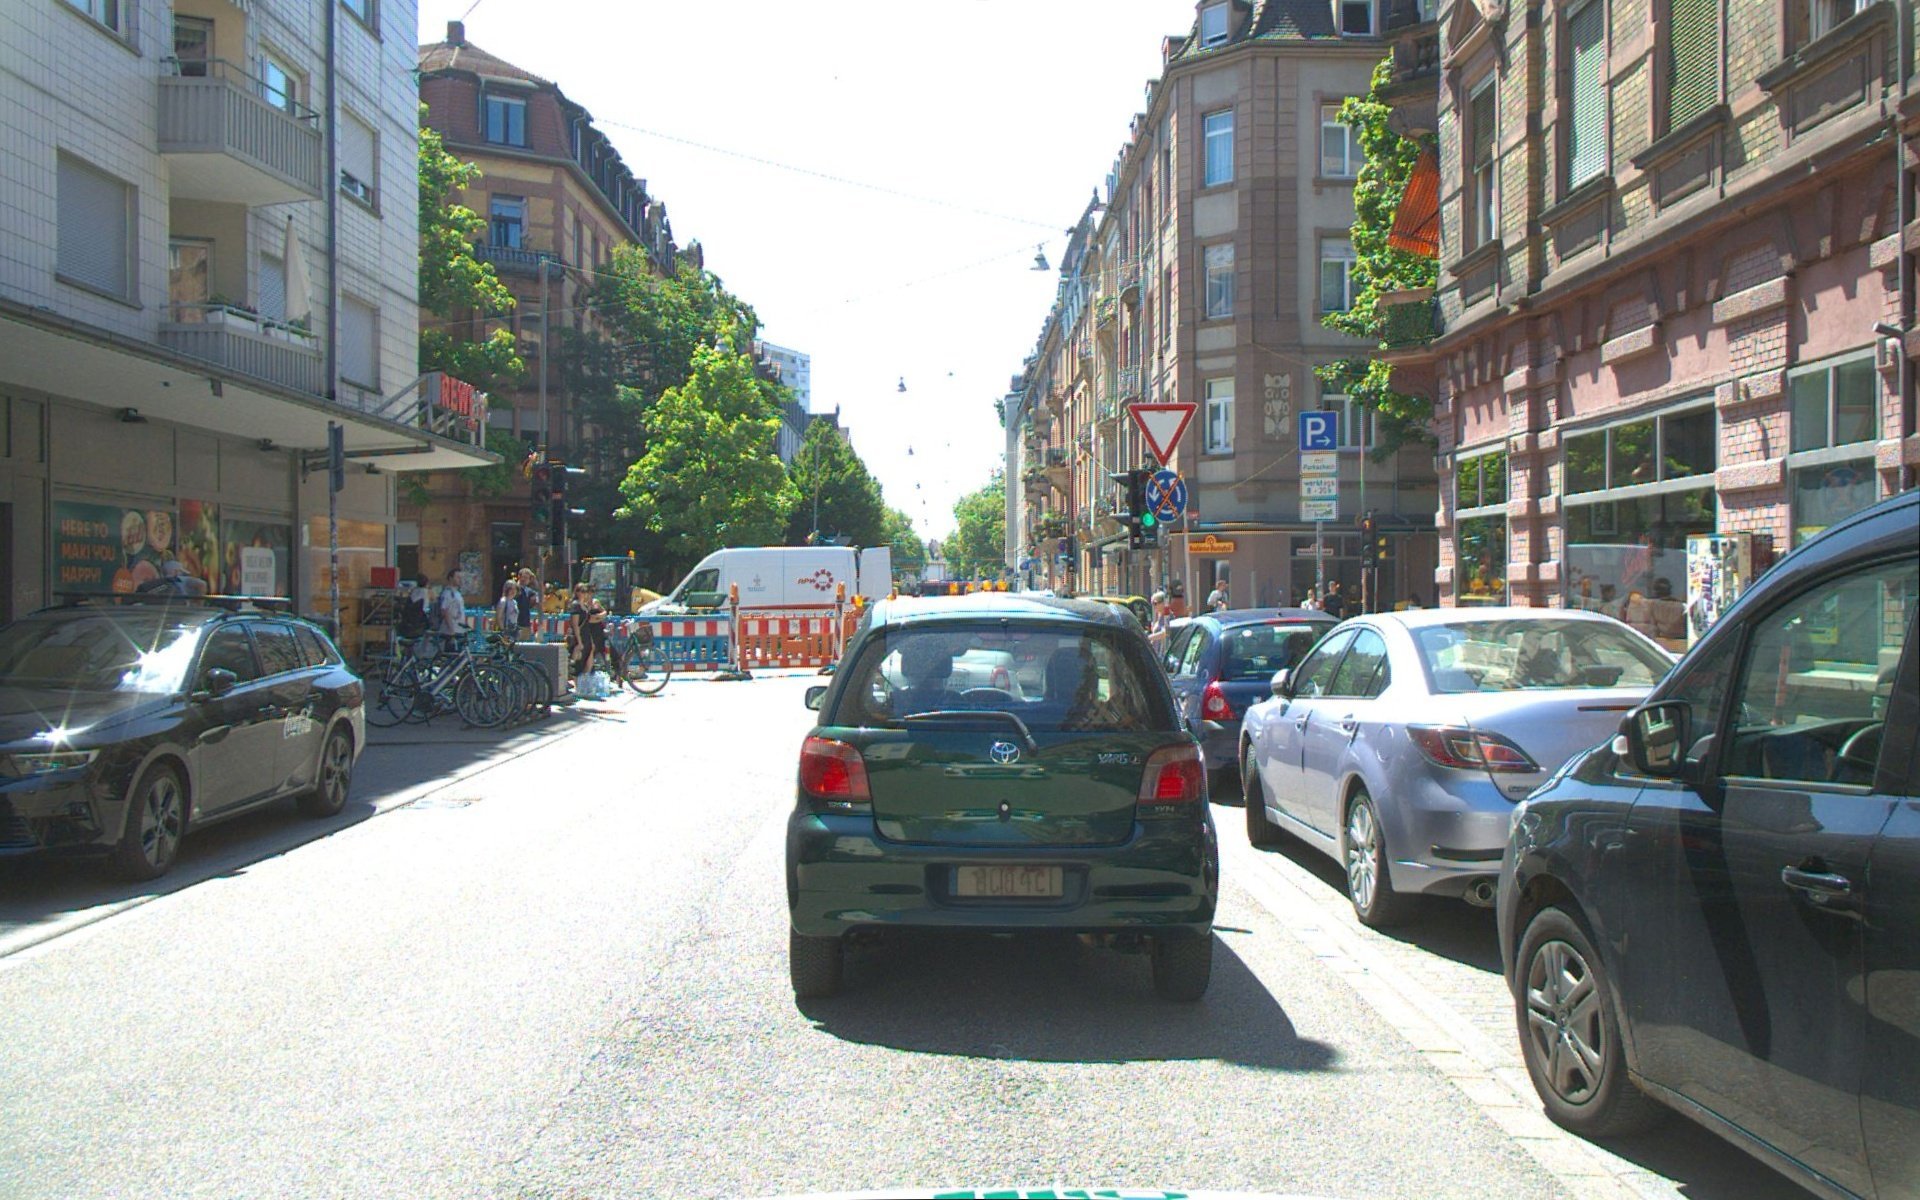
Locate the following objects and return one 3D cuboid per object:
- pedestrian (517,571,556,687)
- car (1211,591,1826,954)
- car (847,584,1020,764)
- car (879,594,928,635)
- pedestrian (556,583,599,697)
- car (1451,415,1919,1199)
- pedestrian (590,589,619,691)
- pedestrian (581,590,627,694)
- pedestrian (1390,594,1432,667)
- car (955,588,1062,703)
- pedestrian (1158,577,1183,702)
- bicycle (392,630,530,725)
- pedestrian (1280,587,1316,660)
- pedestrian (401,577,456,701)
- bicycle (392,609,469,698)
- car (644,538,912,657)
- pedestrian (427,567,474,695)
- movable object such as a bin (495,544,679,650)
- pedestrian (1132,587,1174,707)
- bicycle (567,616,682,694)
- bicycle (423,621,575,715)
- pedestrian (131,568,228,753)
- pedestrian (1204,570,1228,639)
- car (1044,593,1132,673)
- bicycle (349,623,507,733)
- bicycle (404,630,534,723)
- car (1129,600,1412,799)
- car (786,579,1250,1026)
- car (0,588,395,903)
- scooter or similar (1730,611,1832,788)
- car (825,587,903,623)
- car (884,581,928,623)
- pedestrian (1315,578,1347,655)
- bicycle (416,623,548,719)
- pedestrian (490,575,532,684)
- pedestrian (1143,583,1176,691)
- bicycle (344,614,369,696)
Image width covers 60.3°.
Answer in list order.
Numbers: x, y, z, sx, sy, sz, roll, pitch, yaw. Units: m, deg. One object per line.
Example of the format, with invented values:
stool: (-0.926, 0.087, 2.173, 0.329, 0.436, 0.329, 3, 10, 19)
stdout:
pedestrian: (-6.827, 0.462, 26.667, 0.499, 1.852, 0.599, 0, 0, -3)
car: (2.672, 0.712, 9.124, 1.691, 1.457, 4.483, -1, 0, -3)
car: (-0.263, 0.628, 15.977, 1.491, 1.547, 3.263, 0, 0, -1)
car: (-2.106, 0.534, 62.479, 1.719, 1.469, 3.999, -1, 0, -1)
pedestrian: (-5.663, 0.588, 24.501, 0.530, 1.661, 0.511, 0, 0, -3)
car: (2.643, 0.539, 3.390, 1.788, 1.798, 4.336, -1, 0, -3)
pedestrian: (-5.799, 0.643, 27.018, 0.382, 1.646, 0.475, 0, 0, -3)
pedestrian: (-5.535, 0.646, 25.752, 0.486, 1.593, 0.459, 2, 1, 25)
pedestrian: (10.299, 0.687, 37.792, 0.785, 1.652, 0.643, 0, 0, 2)
car: (0.747, 0.629, 24.920, 1.491, 1.620, 3.265, 0, 0, 2)
pedestrian: (2.896, 0.542, 22.778, 0.325, 1.705, 0.402, 0, 0, 5)
bicycle: (-5.854, 0.906, 19.434, 1.465, 1.048, 0.397, 2, 0, -5)
pedestrian: (8.031, 0.549, 39.290, 0.688, 1.673, 0.422, -3, 3, -9)
pedestrian: (-7.986, 0.568, 24.874, 0.519, 1.828, 0.938, -1, 0, -1)
bicycle: (-7.974, 0.783, 24.965, 0.524, 1.269, 2.012, -1, 0, -1)
car: (-4.549, -0.057, 42.253, 6.486, 2.799, 2.380, 1, 0, 0)
pedestrian: (-7.247, 0.435, 23.542, 0.499, 1.801, 0.599, 0, 0, -3)
movable object such as a bin: (-10.074, -0.075, 44.906, 4.449, 2.705, 1.955, 1, 0, 1)
pedestrian: (2.579, 0.622, 22.081, 0.482, 1.570, 0.437, -2, 0, 5)
bicycle: (-5.267, 0.847, 25.969, 1.767, 1.139, 0.468, 1, 0, 21)
bicycle: (-5.887, 0.866, 21.189, 1.763, 1.142, 0.577, 2, -1, -7)
pedestrian: (-7.562, 0.575, 16.039, 0.617, 1.757, 0.658, 0, 0, 0)
pedestrian: (6.590, 0.115, 42.568, 0.467, 1.763, 0.872, 0, -1, 18)
car: (2.549, 0.610, 32.518, 1.593, 1.457, 3.663, -1, 0, 6)
bicycle: (-5.939, 0.870, 18.516, 1.553, 1.159, 0.526, 2, 0, -5)
bicycle: (-5.897, 0.919, 19.890, 1.419, 1.054, 0.335, 2, 0, -5)
car: (2.538, 0.749, 14.342, 1.595, 1.457, 3.658, -1, 0, -3)
car: (0.252, 0.695, 7.307, 1.580, 1.511, 3.241, 1, 0, 2)
car: (-5.175, 0.715, 10.499, 1.636, 1.551, 4.463, 1, 0, 0)
scooter or similar: (5.939, 0.689, 12.004, 0.286, 1.197, 1.273, 0, 0, 9)
car: (-6.056, 0.292, 104.212, 4.506, 2.226, 1.982, 0, 0, -28)
car: (-2.317, 0.096, 71.786, 1.719, 1.674, 4.377, -3, 0, -1)
pedestrian: (8.856, 0.392, 39.480, 0.564, 1.799, 0.471, -3, 3, -9)
bicycle: (-5.932, 0.880, 20.561, 1.489, 1.136, 0.335, 2, 0, -5)
pedestrian: (-6.927, 0.455, 25.511, 0.499, 1.661, 0.599, 0, 0, -3)
pedestrian: (2.959, 0.547, 24.553, 0.450, 1.587, 0.479, 0, 0, 5)
bicycle: (-8.687, 0.777, 23.826, 0.316, 1.105, 1.425, 0, 1, -19)
